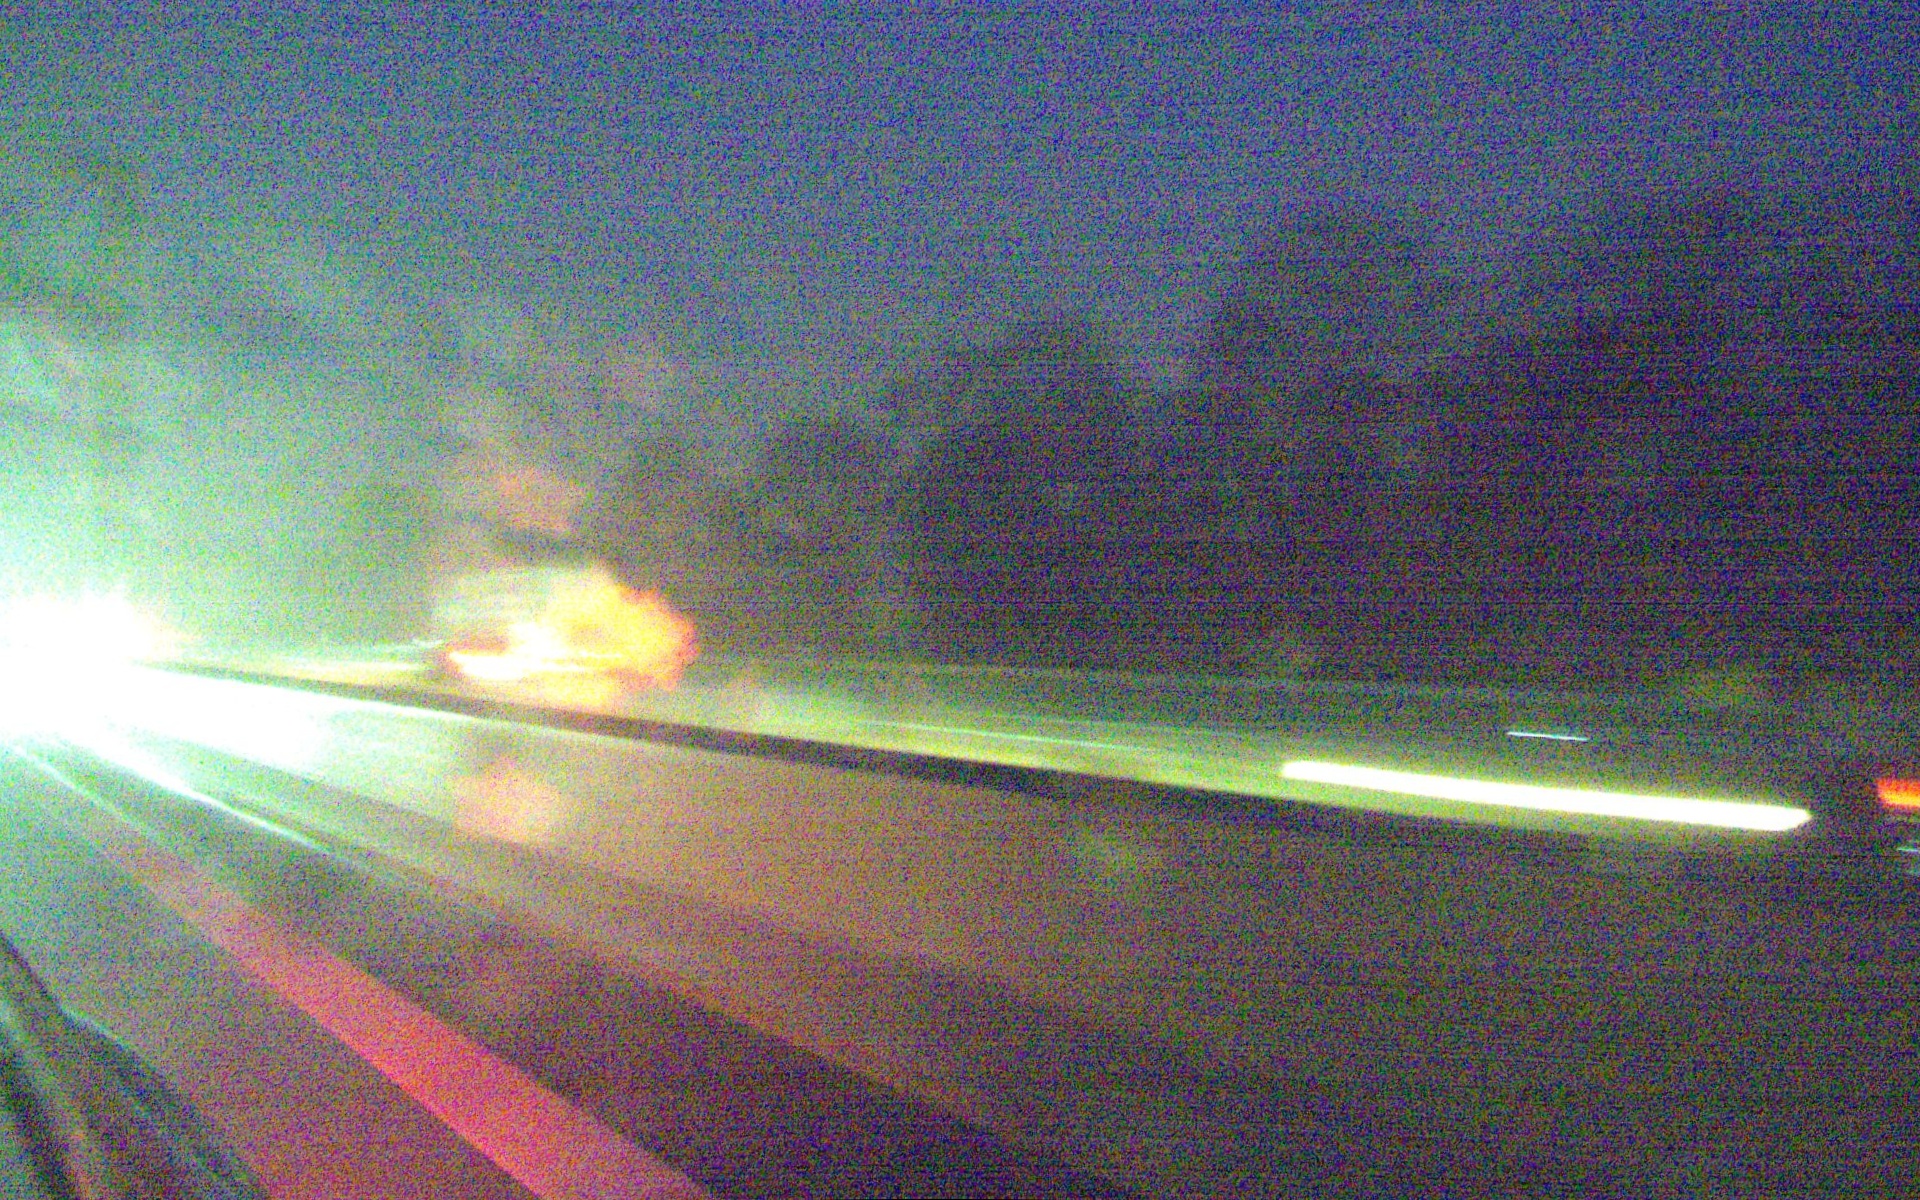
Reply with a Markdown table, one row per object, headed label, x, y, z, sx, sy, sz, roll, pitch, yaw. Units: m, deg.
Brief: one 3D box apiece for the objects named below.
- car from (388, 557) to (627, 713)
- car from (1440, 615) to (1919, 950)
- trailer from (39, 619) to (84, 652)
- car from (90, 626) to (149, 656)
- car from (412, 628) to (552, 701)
| label | x | y | z | sx | sy | sz | roll | pitch | yaw |
| --- | --- | --- | --- | --- | --- | --- | --- | --- | --- |
| car | -16.321 | 1.209 | 35.950 | 10.592 | 4.764 | 3.666 | -2 | -1 | 42 |
| car | 5.314 | 0.979 | 6.125 | 3.999 | 1.697 | 1.896 | 0 | -2 | 42 |
| trailer | -109.786 | 4.293 | 123.658 | 8.697 | 3.930 | 2.827 | -2 | -2 | 40 |
| car | -49.474 | 2.383 | 59.522 | 4.807 | 1.675 | 1.972 | -1 | -2 | 42 |
| car | -12.647 | 1.642 | 26.715 | 3.999 | 1.697 | 1.896 | 0 | -2 | 42 |
